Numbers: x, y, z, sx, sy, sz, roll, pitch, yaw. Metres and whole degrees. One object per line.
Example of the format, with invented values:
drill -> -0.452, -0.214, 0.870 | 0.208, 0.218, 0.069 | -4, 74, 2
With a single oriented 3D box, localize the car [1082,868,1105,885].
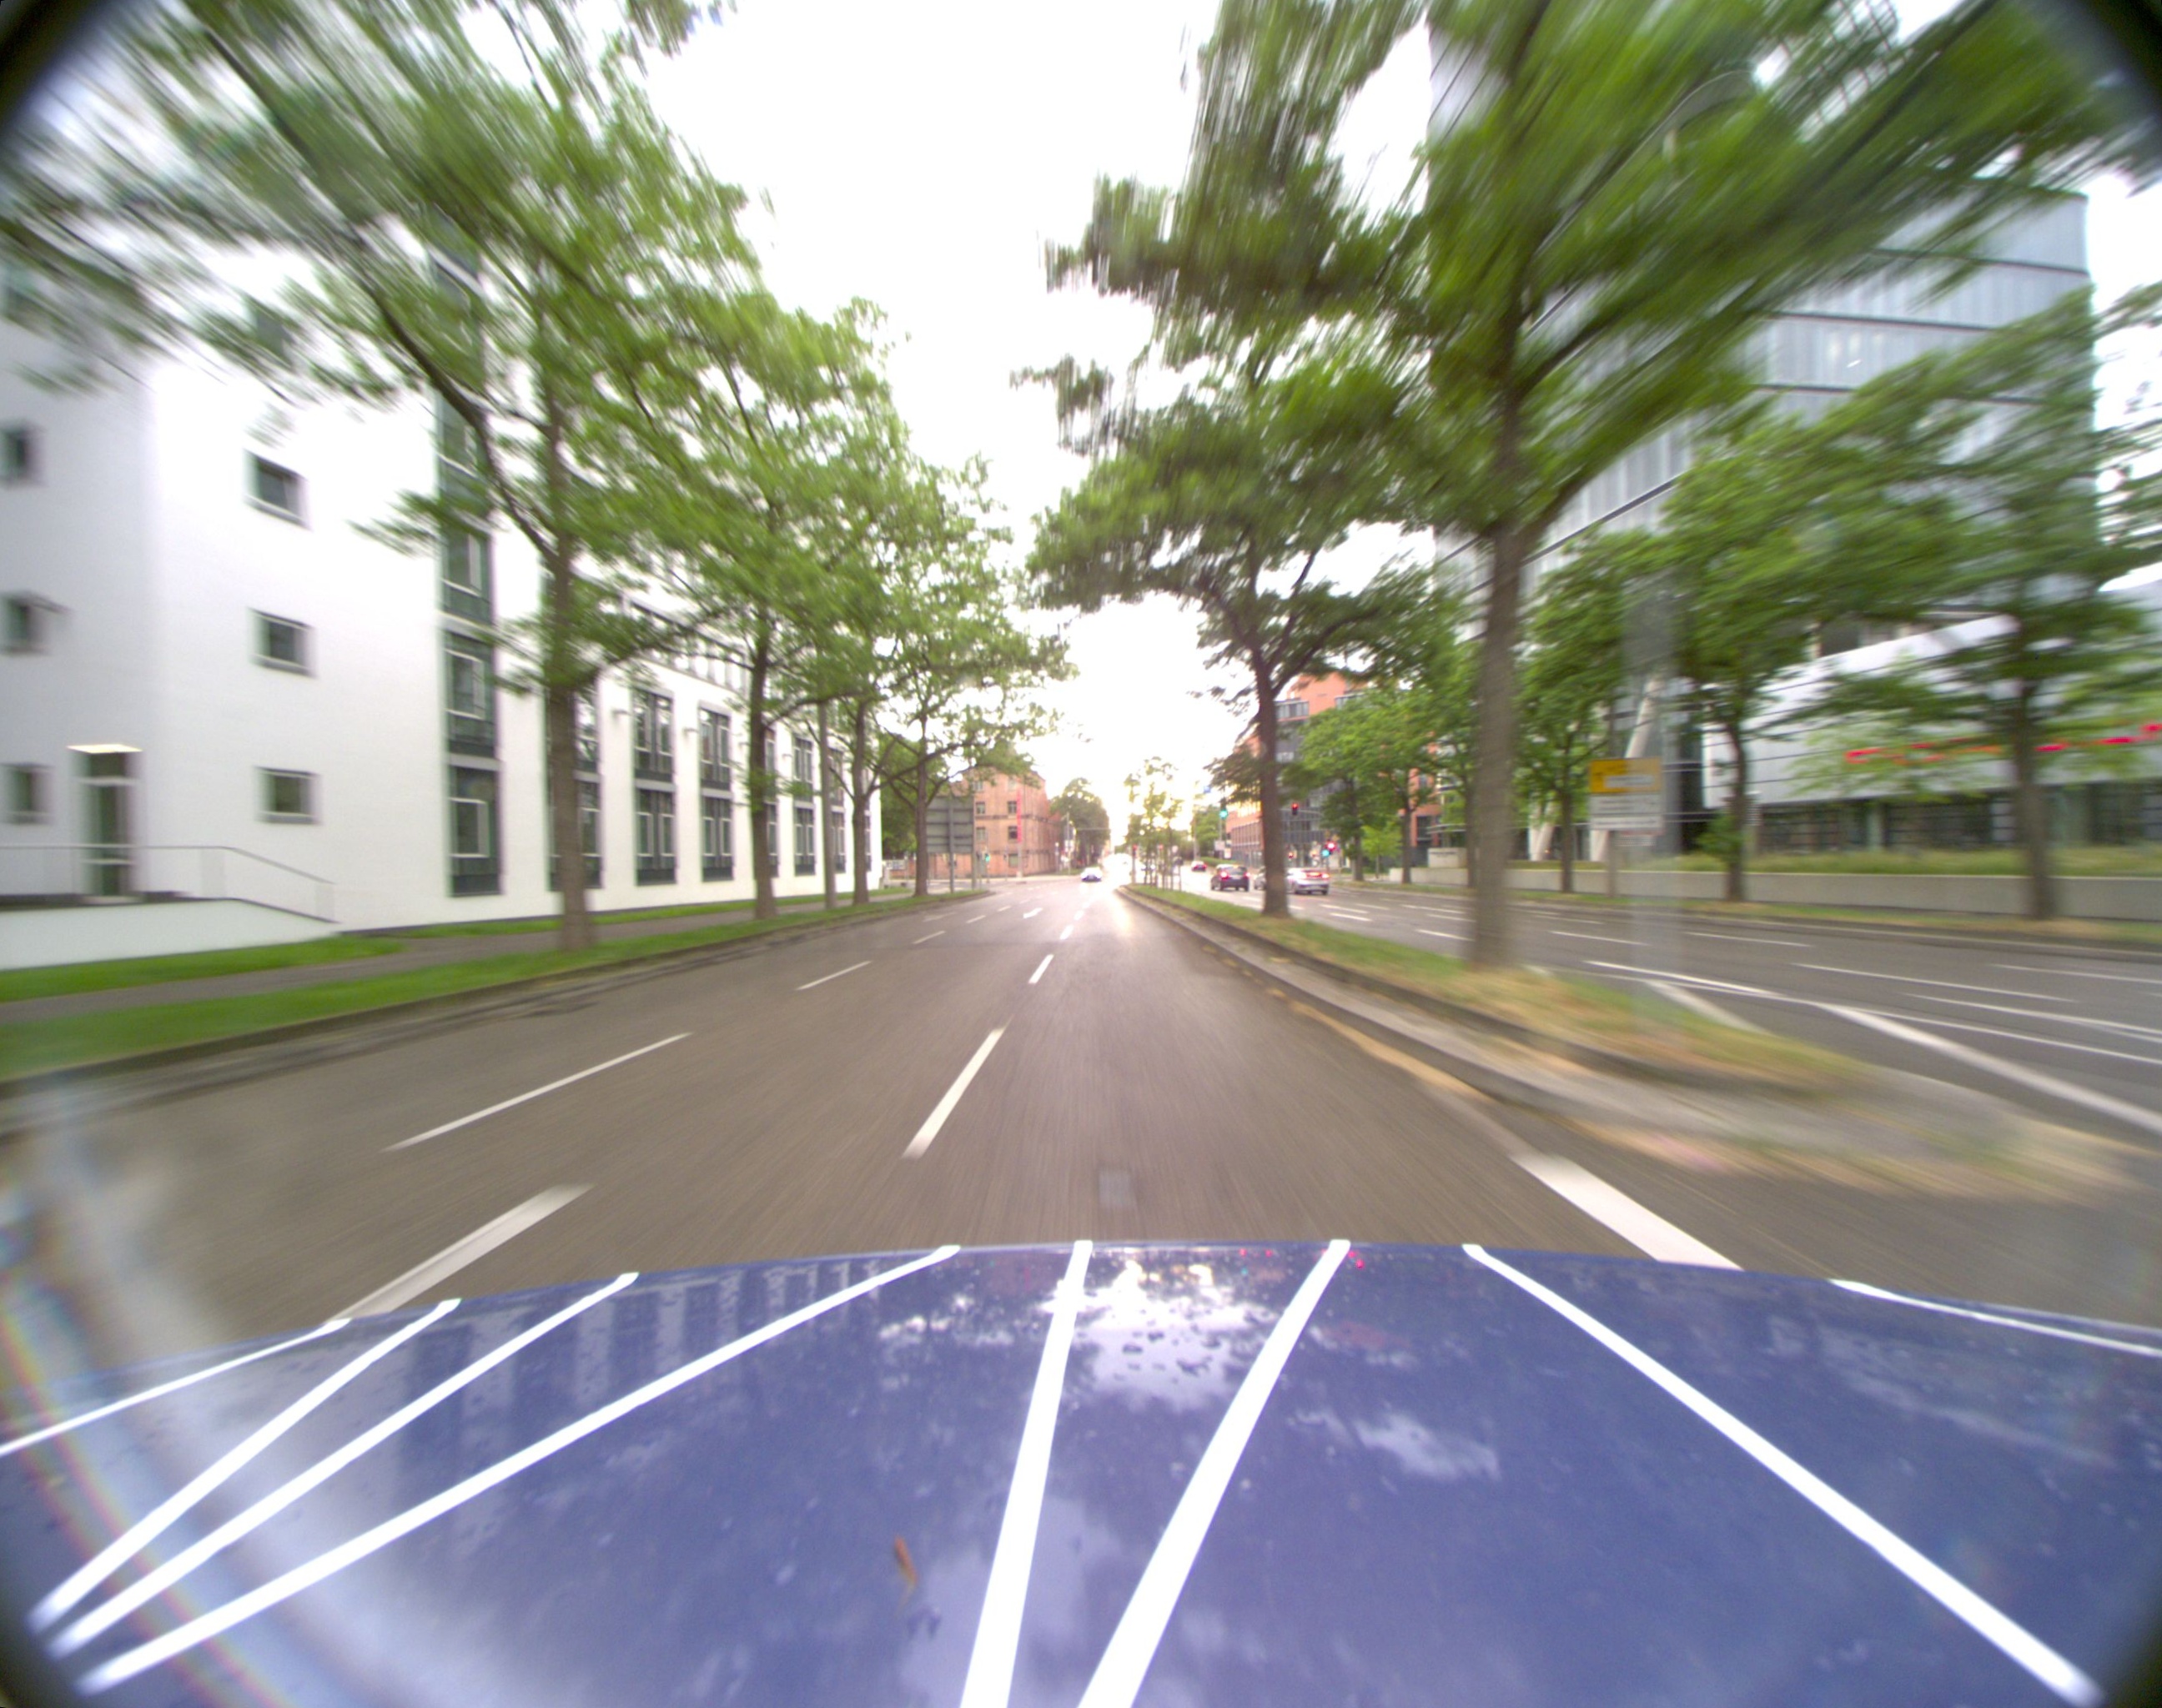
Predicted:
car -> 1.227, 2.118, 72.506 | 1.877, 1.346, 4.333 | -3, 0, 3

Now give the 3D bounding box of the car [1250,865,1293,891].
car -> 12.472, 1.537, 49.852 | 1.783, 1.444, 4.000 | -3, 0, 1

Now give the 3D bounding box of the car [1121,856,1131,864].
car -> 9.884, 1.346, 166.347 | 1.998, 1.674, 4.000 | -1, 0, 1

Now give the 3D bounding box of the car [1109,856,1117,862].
car -> 8.550, 1.381, 204.475 | 1.998, 1.575, 4.001 | 0, 0, 4

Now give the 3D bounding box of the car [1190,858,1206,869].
car -> 17.072, 1.360, 111.072 | 1.783, 1.444, 4.000 | -3, 0, 1

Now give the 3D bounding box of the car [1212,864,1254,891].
car -> 9.510, 1.437, 47.941 | 1.846, 1.581, 4.174 | -1, 0, 1

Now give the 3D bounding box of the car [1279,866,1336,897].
car -> 12.371, 1.481, 41.705 | 1.894, 1.444, 4.000 | -3, 0, 1

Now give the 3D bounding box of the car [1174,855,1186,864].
car -> 19.205, 1.045, 147.186 | 1.783, 1.444, 4.000 | -3, 0, 2
